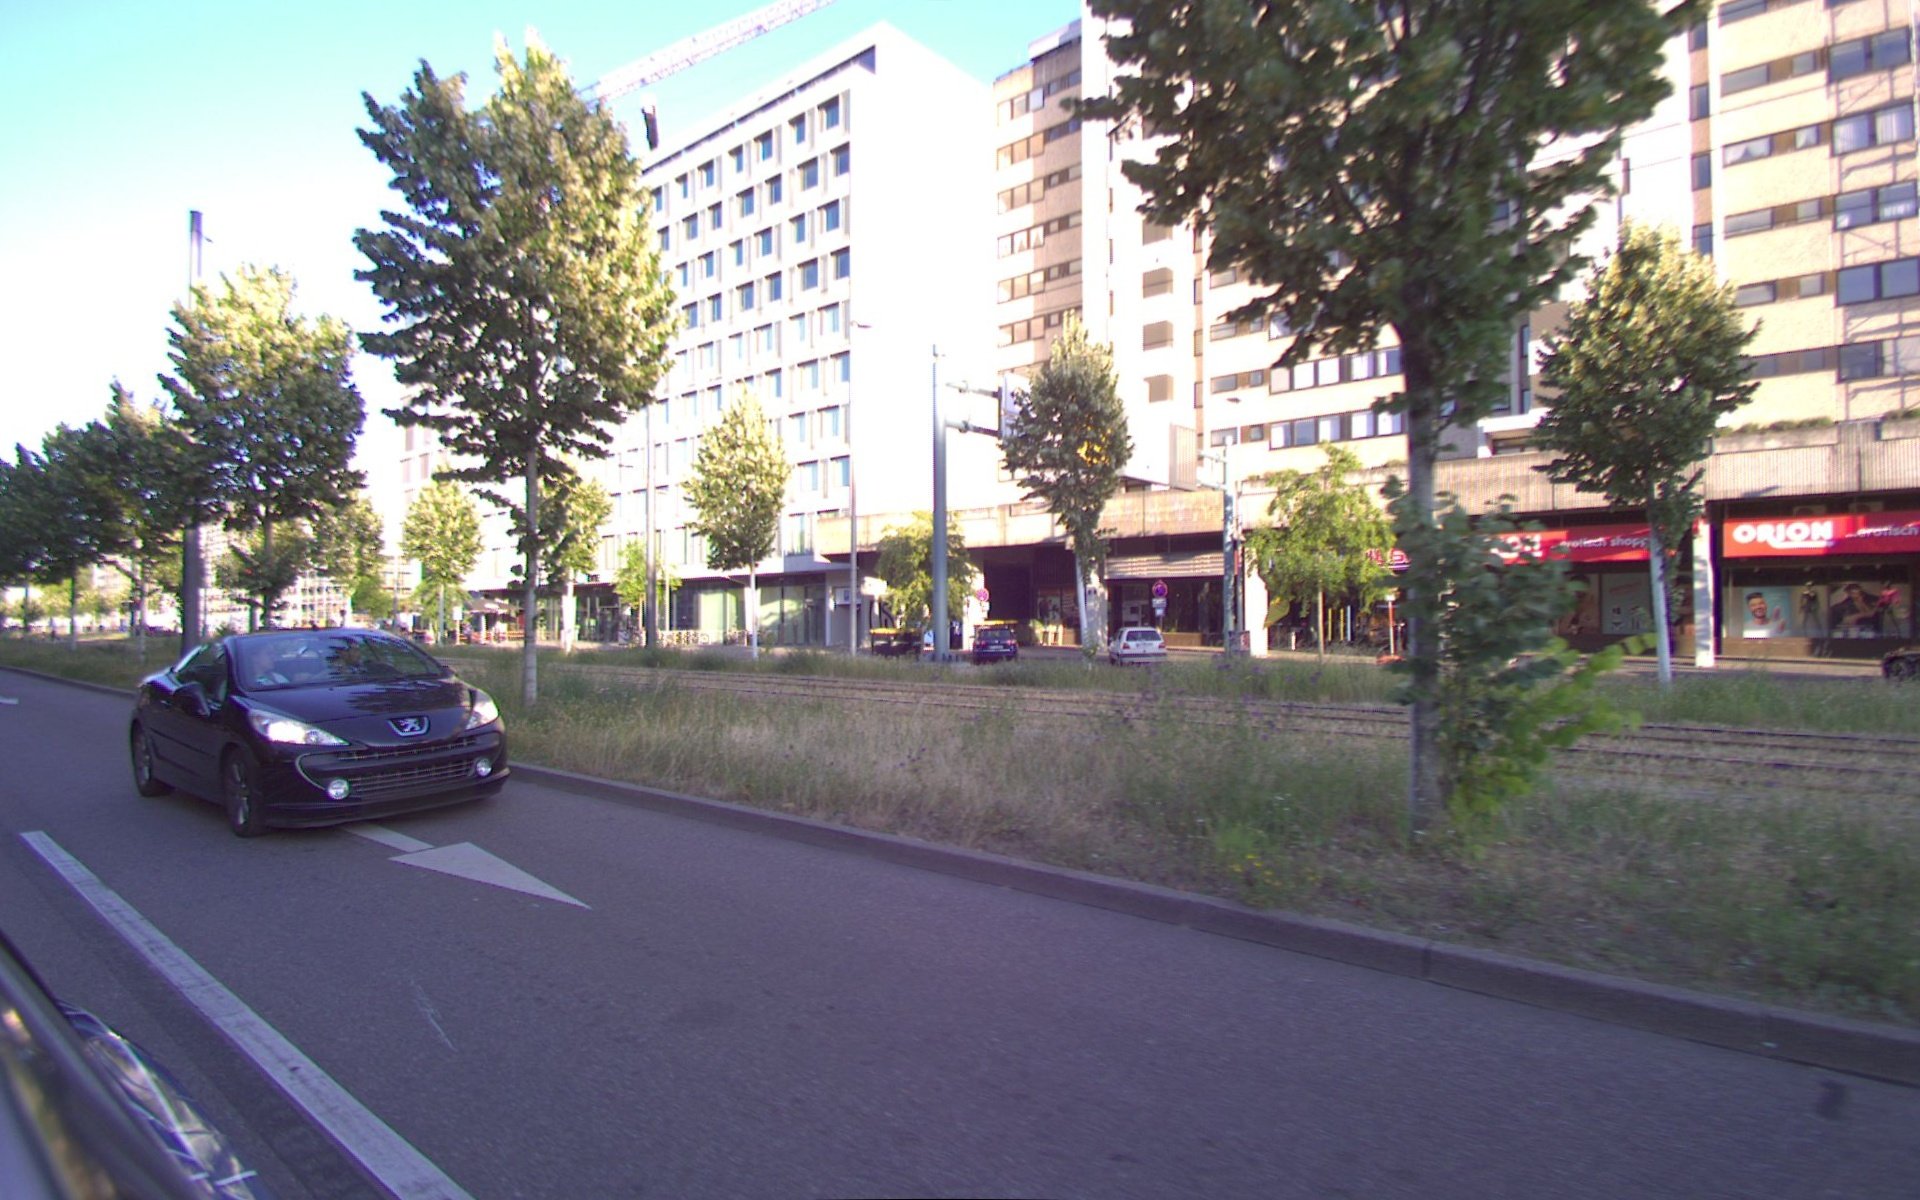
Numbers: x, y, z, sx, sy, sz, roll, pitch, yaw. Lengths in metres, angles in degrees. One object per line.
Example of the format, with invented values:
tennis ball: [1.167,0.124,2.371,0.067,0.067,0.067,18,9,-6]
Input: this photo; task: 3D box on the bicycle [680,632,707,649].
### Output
bicycle: [-16.885,2.564,64.096,0.420,1.028,1.771,-2,-2,37]

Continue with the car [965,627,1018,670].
car: [1.199,1.861,39.911,1.981,1.602,4.284,0,-1,1]

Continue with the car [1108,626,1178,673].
car: [6.436,1.714,35.989,1.801,1.446,4.129,-2,0,2]

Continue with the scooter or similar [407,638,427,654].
scooter or similar: [-40.364,3.434,75.209,0.338,1.065,1.169,-4,0,41]

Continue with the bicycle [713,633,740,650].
bicycle: [-14.099,2.509,61.213,0.420,1.028,1.771,-2,-2,37]

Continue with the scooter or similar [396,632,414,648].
scooter or similar: [-42.524,3.060,77.494,0.338,1.227,1.169,-2,-2,41]

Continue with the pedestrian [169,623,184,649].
pedestrian: [-60.452,2.791,78.054,0.708,1.938,0.671,-2,2,43]

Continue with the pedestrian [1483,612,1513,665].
pedestrian: [17.280,1.233,32.496,0.661,1.674,0.657,-2,0,42]

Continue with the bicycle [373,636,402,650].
bicycle: [-44.752,3.353,79.132,0.442,1.067,1.891,-2,-1,37]

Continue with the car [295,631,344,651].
car: [-47.483,3.050,75.007,4.220,1.451,1.866,-2,-2,40]

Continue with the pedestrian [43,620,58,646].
pedestrian: [-67.139,2.422,74.702,0.762,1.850,0.699,-2,0,39]

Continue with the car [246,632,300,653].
car: [-49.517,3.084,72.888,4.798,1.452,1.994,-2,-4,41]

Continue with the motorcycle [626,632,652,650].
motorcycle: [-21.695,2.763,68.456,0.513,1.180,1.881,-1,-1,25]

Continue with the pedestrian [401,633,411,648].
pedestrian: [-52.694,3.838,96.276,0.772,1.474,0.597,-2,-3,41]

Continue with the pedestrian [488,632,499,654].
pedestrian: [-34.133,3.142,74.090,0.603,1.612,0.491,-2,0,42]

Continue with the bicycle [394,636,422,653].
bicycle: [-42.064,3.372,77.161,0.442,1.208,1.891,-2,-1,37]

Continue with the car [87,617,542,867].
car: [-5.089,0.862,7.809,3.894,1.460,1.703,-1,-1,37]

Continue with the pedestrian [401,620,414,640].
pedestrian: [-46.388,2.510,84.955,0.698,1.616,0.681,-2,0,-2]

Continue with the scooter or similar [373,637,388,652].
scooter or similar: [-46.477,3.552,81.143,0.338,1.093,0.962,2,2,41]

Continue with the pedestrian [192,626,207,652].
pedestrian: [-60.164,3.091,80.051,0.854,2.029,0.821,-2,-2,44]
